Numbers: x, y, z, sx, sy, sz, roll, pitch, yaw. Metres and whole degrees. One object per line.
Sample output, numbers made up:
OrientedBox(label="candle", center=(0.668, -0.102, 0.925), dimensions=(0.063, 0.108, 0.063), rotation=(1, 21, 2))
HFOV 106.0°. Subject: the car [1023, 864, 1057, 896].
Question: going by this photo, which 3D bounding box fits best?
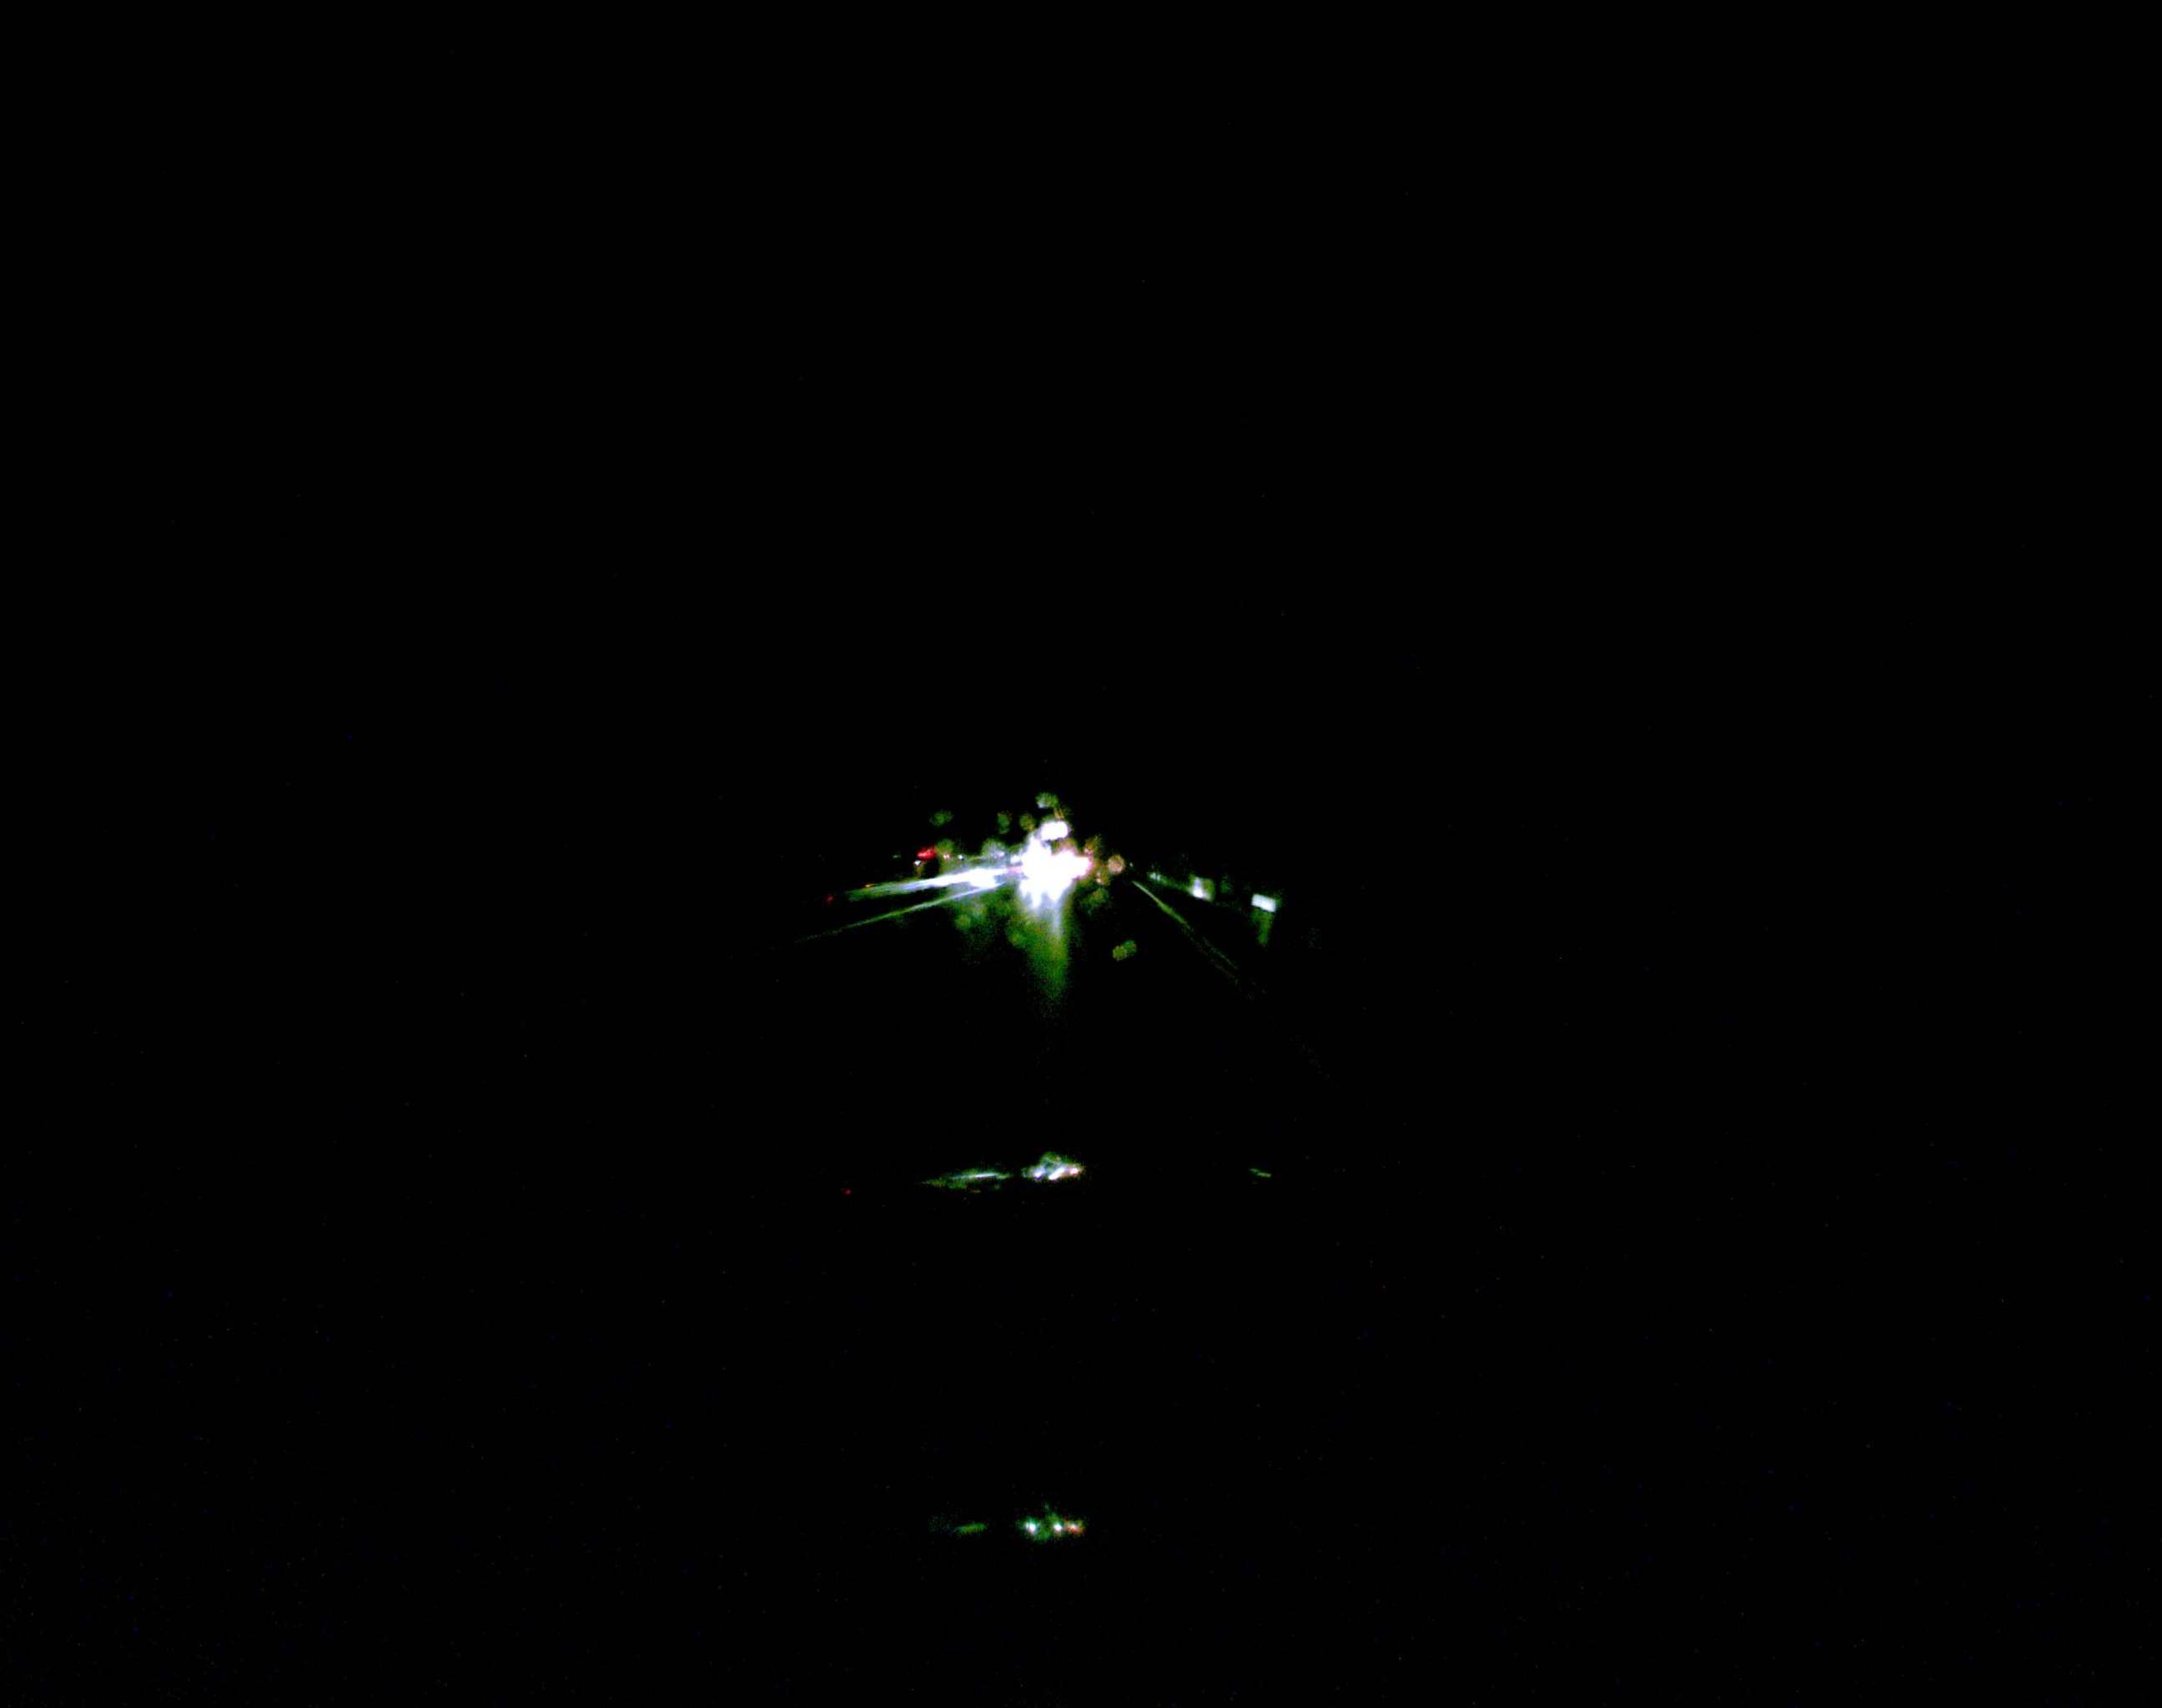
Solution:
OrientedBox(label="car", center=(-2.776, 1.791, 55.628), dimensions=(1.987, 2.014, 3.999), rotation=(3, -2, 0))
